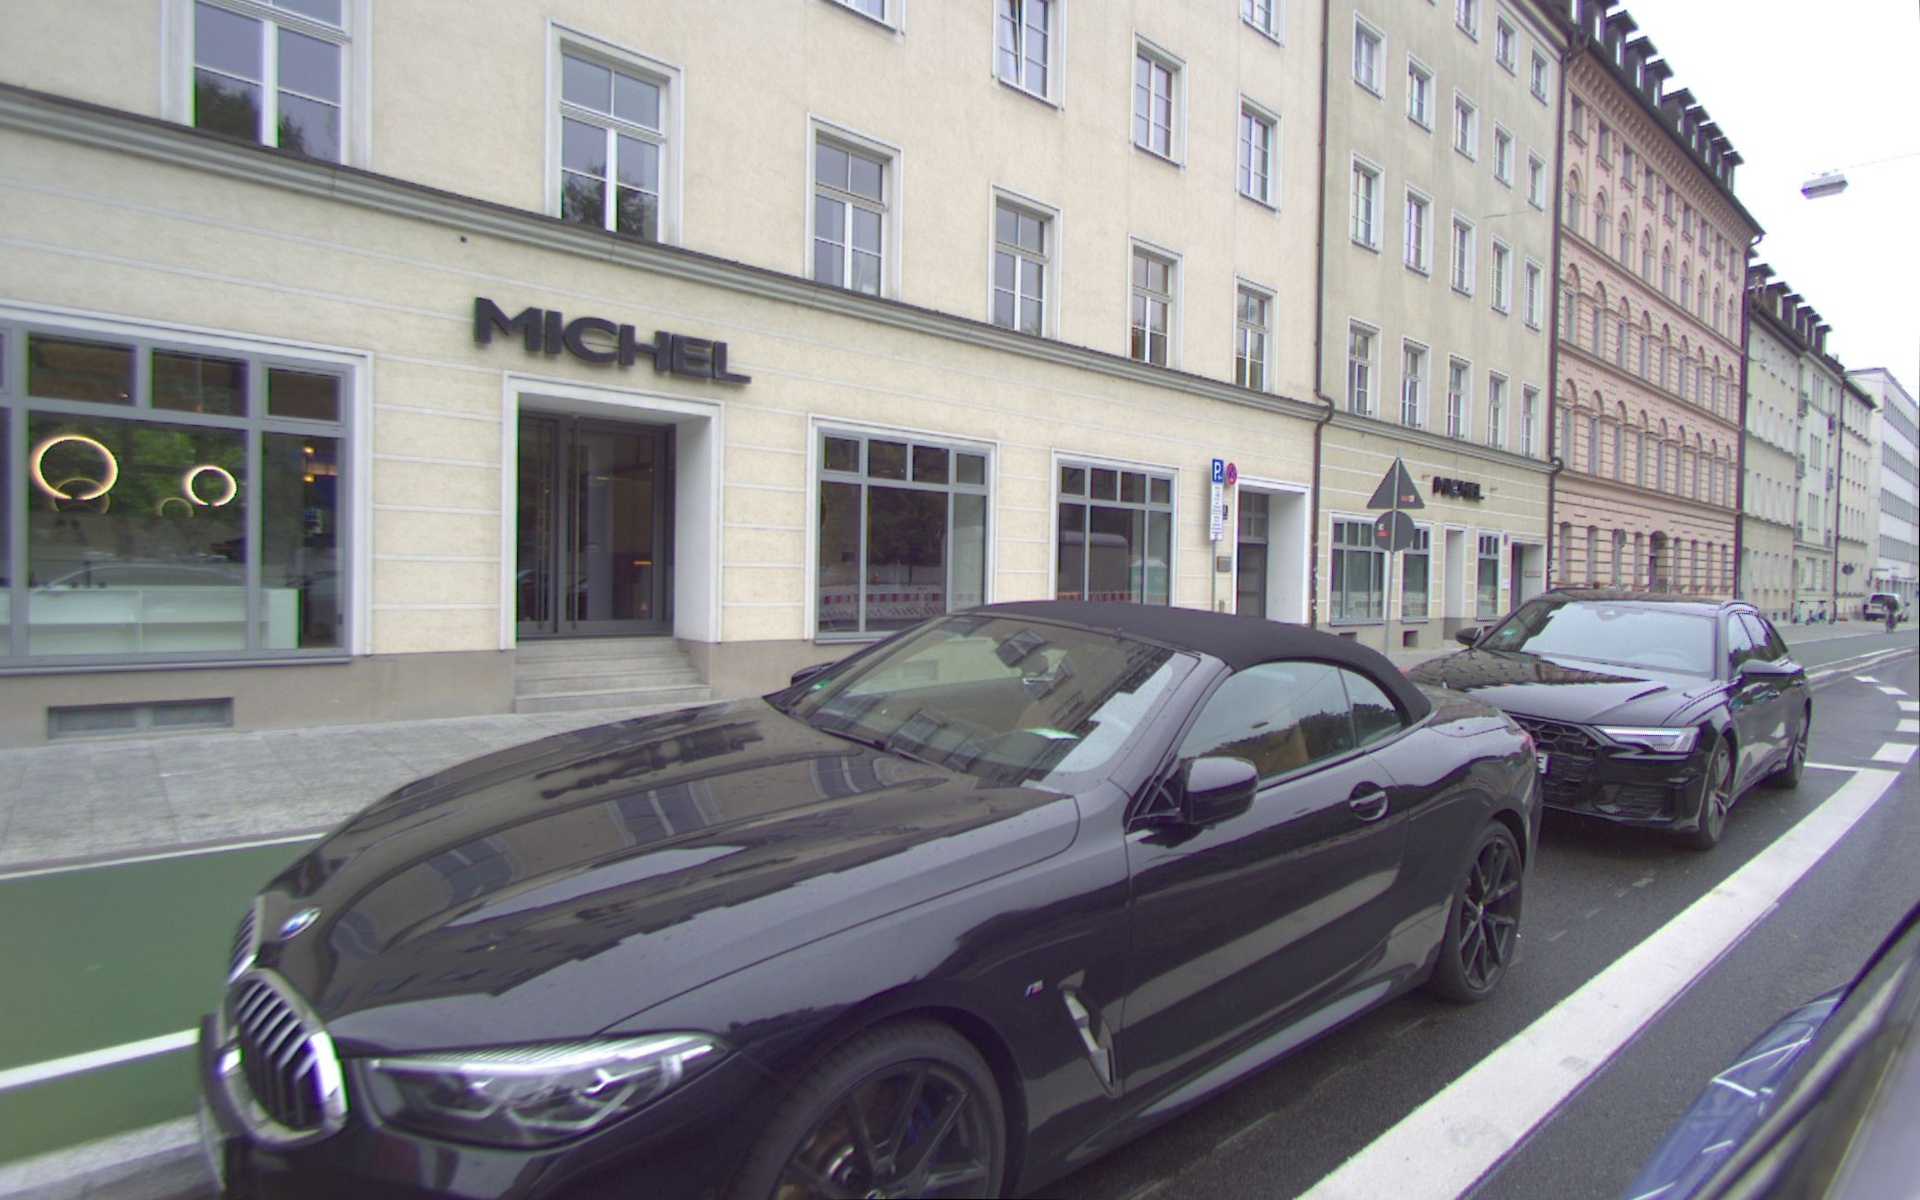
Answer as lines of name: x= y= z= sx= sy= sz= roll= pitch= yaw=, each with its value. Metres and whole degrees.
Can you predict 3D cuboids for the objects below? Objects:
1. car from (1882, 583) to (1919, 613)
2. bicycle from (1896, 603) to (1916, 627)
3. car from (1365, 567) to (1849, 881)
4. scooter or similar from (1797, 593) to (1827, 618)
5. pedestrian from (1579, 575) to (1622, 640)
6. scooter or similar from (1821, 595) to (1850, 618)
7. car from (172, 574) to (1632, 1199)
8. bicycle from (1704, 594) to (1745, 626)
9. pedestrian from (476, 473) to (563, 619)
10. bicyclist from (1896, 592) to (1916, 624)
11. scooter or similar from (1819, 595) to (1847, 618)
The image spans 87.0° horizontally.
car: x=60.492 y=-0.152 z=64.807 sx=3.931 sy=1.855 sz=1.764 roll=0 pitch=1 yaw=-42
bicycle: x=44.212 y=0.676 z=47.317 sx=0.630 sy=1.050 sz=1.987 roll=2 pitch=2 yaw=42
car: x=4.880 y=0.616 z=7.345 sx=4.386 sy=1.498 sz=1.812 roll=0 pitch=5 yaw=-43
scooter or similar: x=43.068 y=0.272 z=51.180 sx=1.055 sy=1.261 sz=0.554 roll=1 pitch=1 yaw=-6
pedestrian: x=18.051 y=0.203 z=28.531 sx=0.819 sy=1.767 sz=0.795 roll=0 pitch=1 yaw=-40
scooter or similar: x=46.857 y=0.354 z=54.184 sx=1.063 sy=1.207 sz=0.451 roll=2 pitch=1 yaw=20
car: x=0.377 y=0.674 z=3.324 sx=4.635 sy=1.425 sz=1.829 roll=0 pitch=0 yaw=-40
bicycle: x=29.548 y=0.393 z=39.116 sx=1.690 sy=1.191 sz=0.558 roll=1 pitch=1 yaw=-27
pedestrian: x=-5.437 y=-0.650 z=12.475 sx=0.767 sy=1.710 sz=0.861 roll=0 pitch=2 yaw=-39
bicyclist: x=44.252 y=0.363 z=47.346 sx=0.630 sy=1.486 sz=0.643 roll=2 pitch=1 yaw=42
scooter or similar: x=47.666 y=0.358 z=55.259 sx=1.059 sy=1.207 sz=0.436 roll=1 pitch=1 yaw=10
